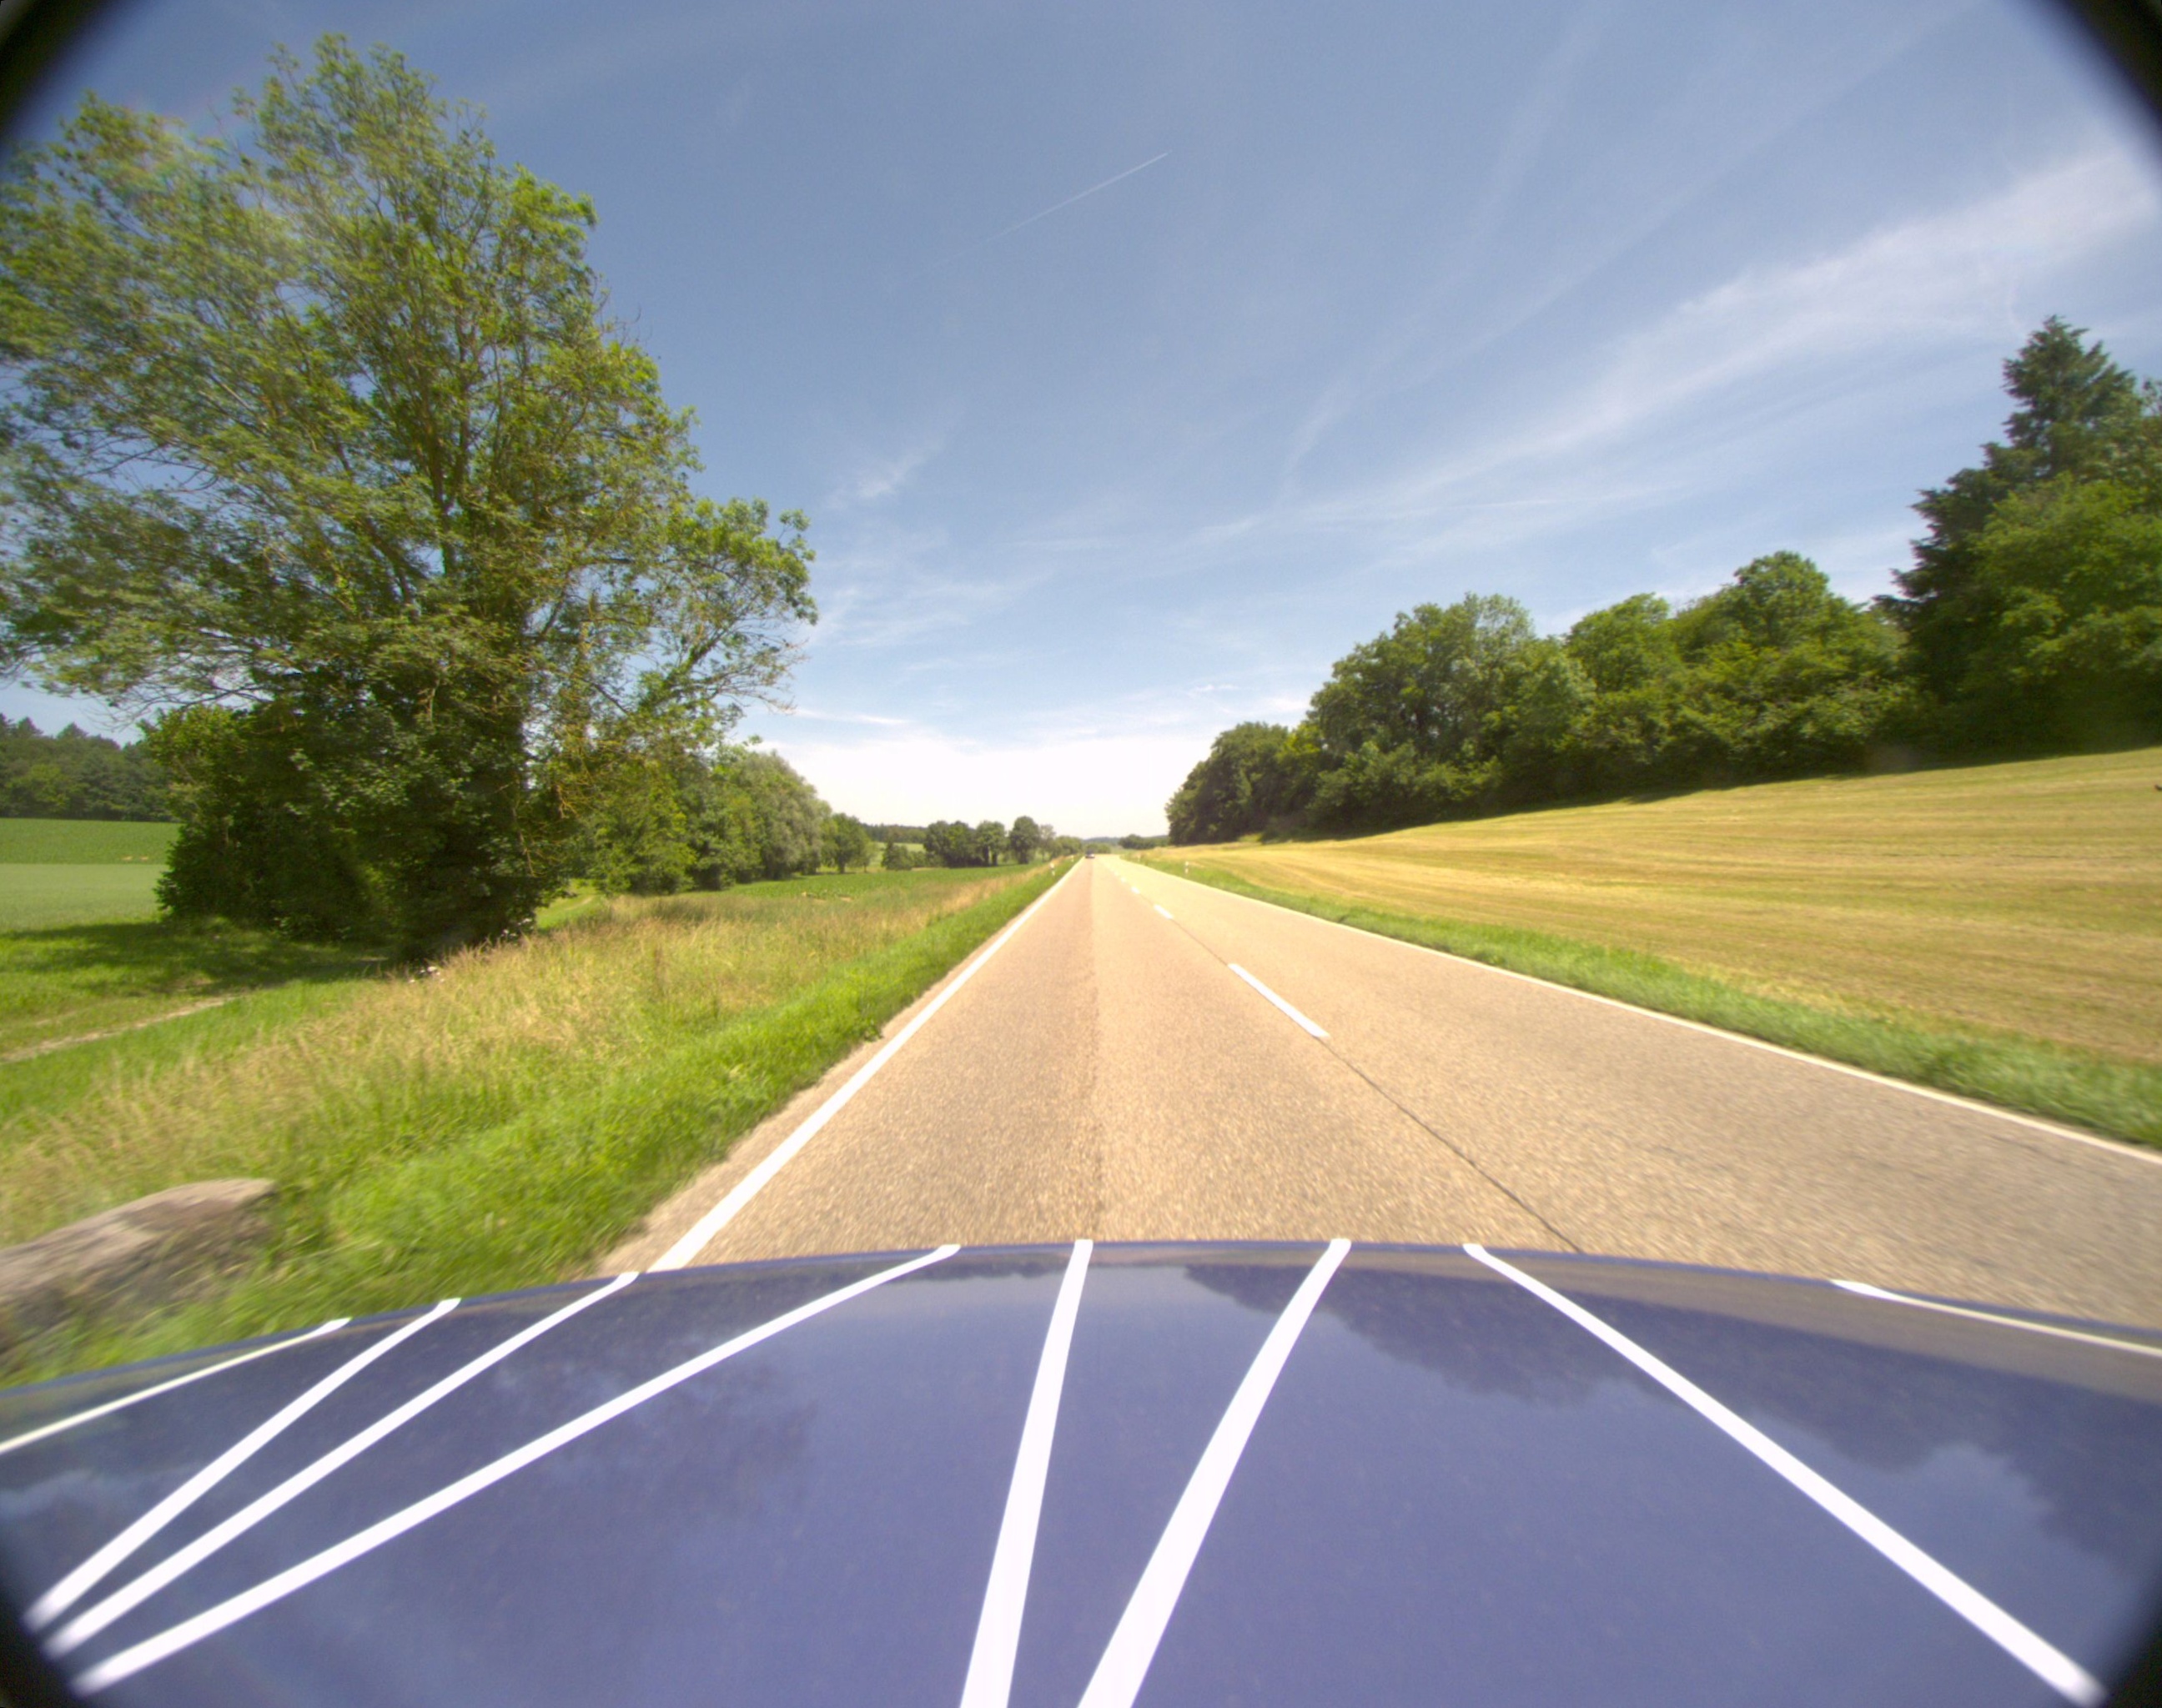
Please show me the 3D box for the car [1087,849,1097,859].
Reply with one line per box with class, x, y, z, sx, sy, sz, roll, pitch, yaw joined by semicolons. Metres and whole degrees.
car;2.132;-0.051;141.831;1.815;1.569;4.156;-2;-3;1
